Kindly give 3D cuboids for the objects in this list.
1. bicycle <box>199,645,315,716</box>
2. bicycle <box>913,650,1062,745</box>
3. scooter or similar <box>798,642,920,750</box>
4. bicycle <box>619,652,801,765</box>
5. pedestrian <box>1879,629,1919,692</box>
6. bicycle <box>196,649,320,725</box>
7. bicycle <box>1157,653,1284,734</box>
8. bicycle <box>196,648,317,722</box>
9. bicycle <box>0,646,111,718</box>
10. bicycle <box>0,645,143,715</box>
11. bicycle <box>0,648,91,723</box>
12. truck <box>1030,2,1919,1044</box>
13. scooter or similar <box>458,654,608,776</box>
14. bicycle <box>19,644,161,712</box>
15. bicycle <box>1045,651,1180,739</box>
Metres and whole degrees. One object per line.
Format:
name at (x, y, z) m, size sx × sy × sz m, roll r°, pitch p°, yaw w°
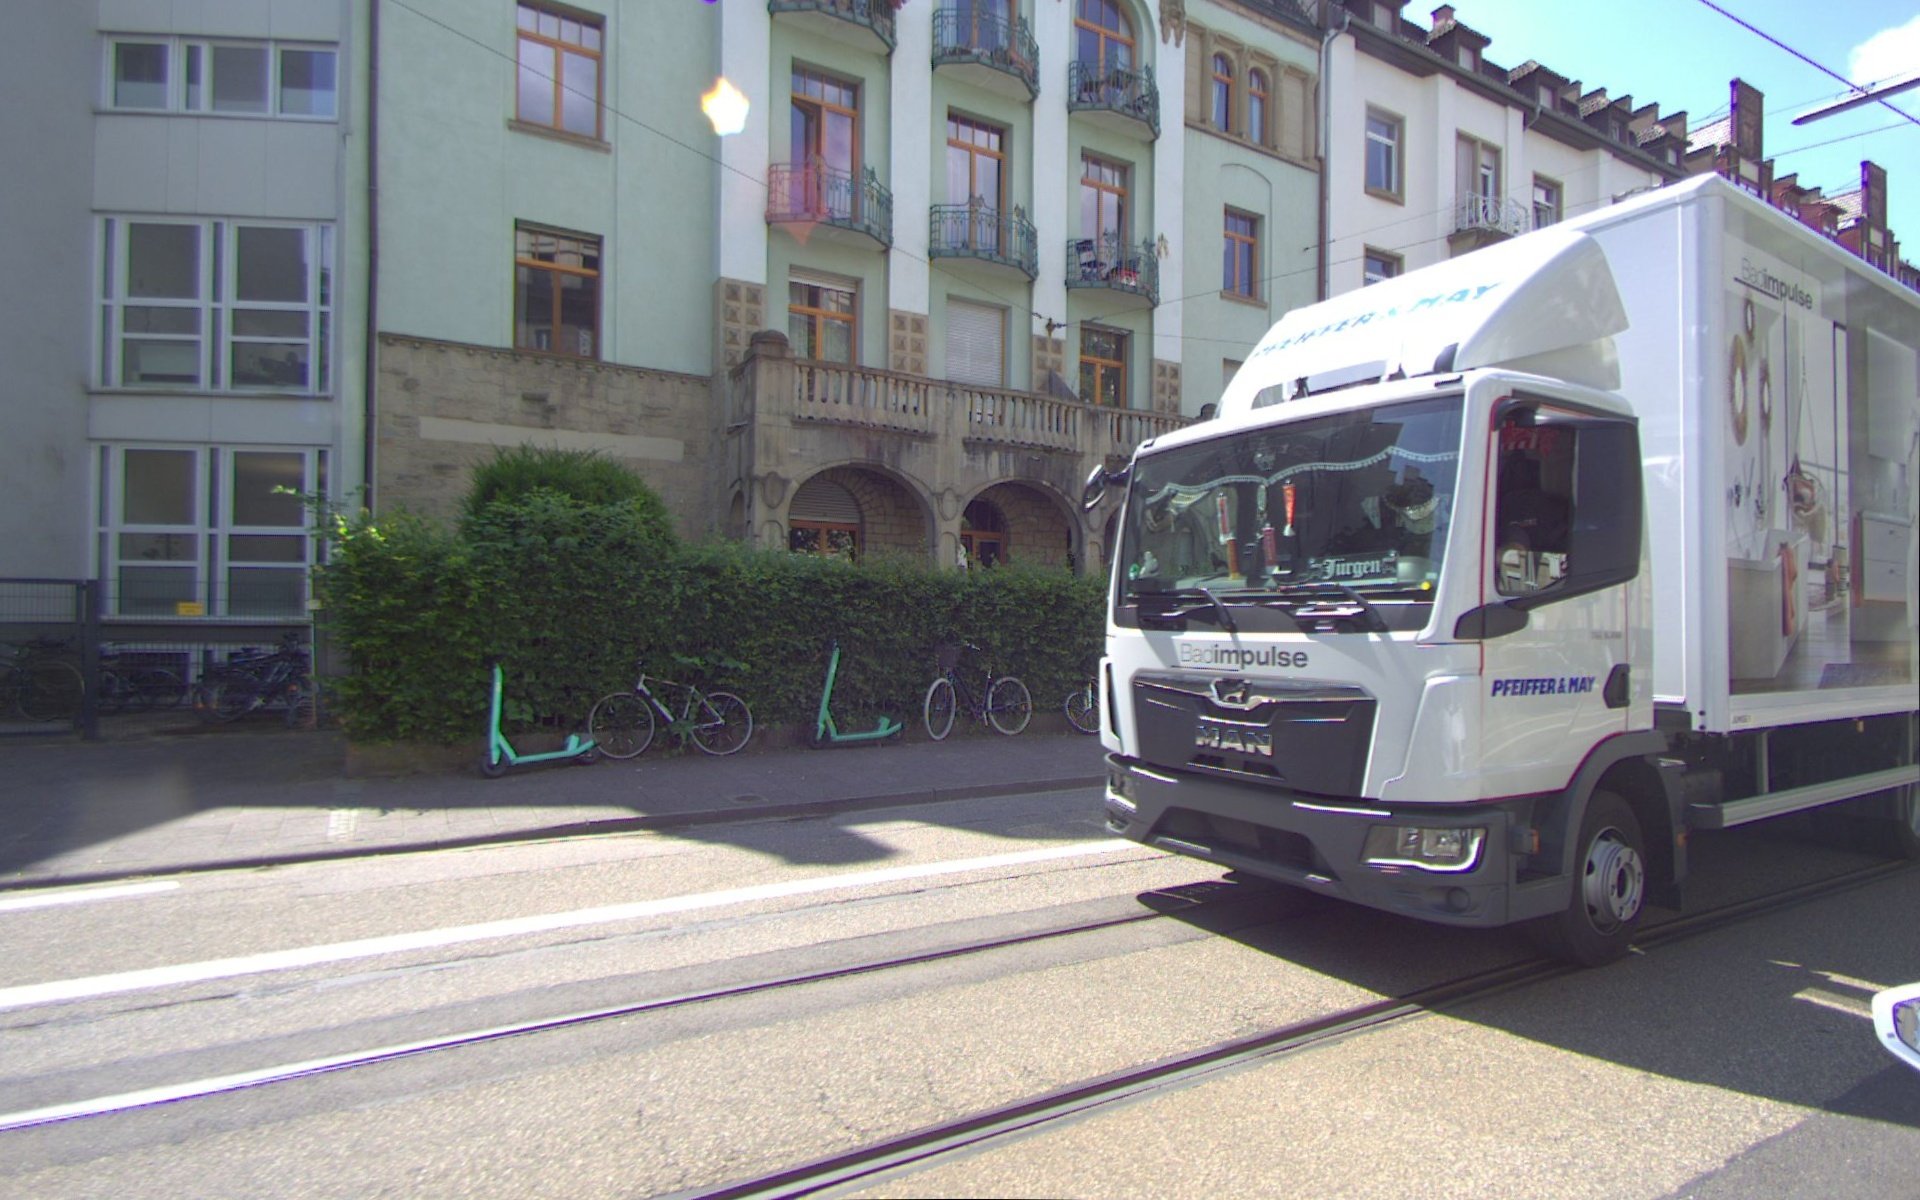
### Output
bicycle at (-10.547, 1.193, 15.115) m, size 1.401 × 1.010 × 0.400 m, roll 2°, pitch -2°, yaw -33°
bicycle at (0.340, 1.138, 12.025) m, size 1.688 × 1.002 × 0.604 m, roll 1°, pitch 3°, yaw -31°
scooter or similar at (-1.105, 1.033, 11.110) m, size 1.275 × 1.135 × 0.404 m, roll 1°, pitch -1°, yaw -29°
bicycle at (-2.545, 1.070, 10.273) m, size 1.688 × 1.002 × 0.604 m, roll 1°, pitch 3°, yaw -31°
pedestrian at (24.029, 1.513, 25.415) m, size 0.973 × 1.563 × 0.896 m, roll 1°, pitch -1°, yaw -30°
bicycle at (-9.919, 1.212, 14.219) m, size 1.404 × 1.010 × 0.399 m, roll 2°, pitch -2°, yaw -39°
bicycle at (3.593, 1.255, 13.813) m, size 1.751 × 0.989 × 0.604 m, roll 1°, pitch 3°, yaw -31°
bicycle at (-10.172, 1.204, 14.552) m, size 1.404 × 1.010 × 0.399 m, roll 2°, pitch -2°, yaw -39°
bicycle at (-13.238, 1.176, 14.495) m, size 1.459 × 1.010 × 0.498 m, roll 1°, pitch -1°, yaw -7°
bicycle at (-13.223, 1.188, 14.942) m, size 1.610 × 1.010 × 0.498 m, roll 1°, pitch -1°, yaw -7°
bicycle at (-13.144, 1.176, 13.940) m, size 1.610 × 1.010 × 0.498 m, roll 1°, pitch -1°, yaw -7°
truck at (4.578, -0.179, 6.937) m, size 8.167 × 3.667 × 2.769 m, roll 1°, pitch -1°, yaw -33°
scooter or similar at (-3.968, 1.041, 9.387) m, size 0.401 × 1.033 × 1.216 m, roll 0°, pitch -2°, yaw 44°
bicycle at (-13.285, 1.189, 15.373) m, size 1.621 × 1.010 × 0.498 m, roll 1°, pitch -1°, yaw -7°
bicycle at (1.972, 1.195, 12.942) m, size 1.688 × 1.002 × 0.604 m, roll 1°, pitch 3°, yaw -31°
